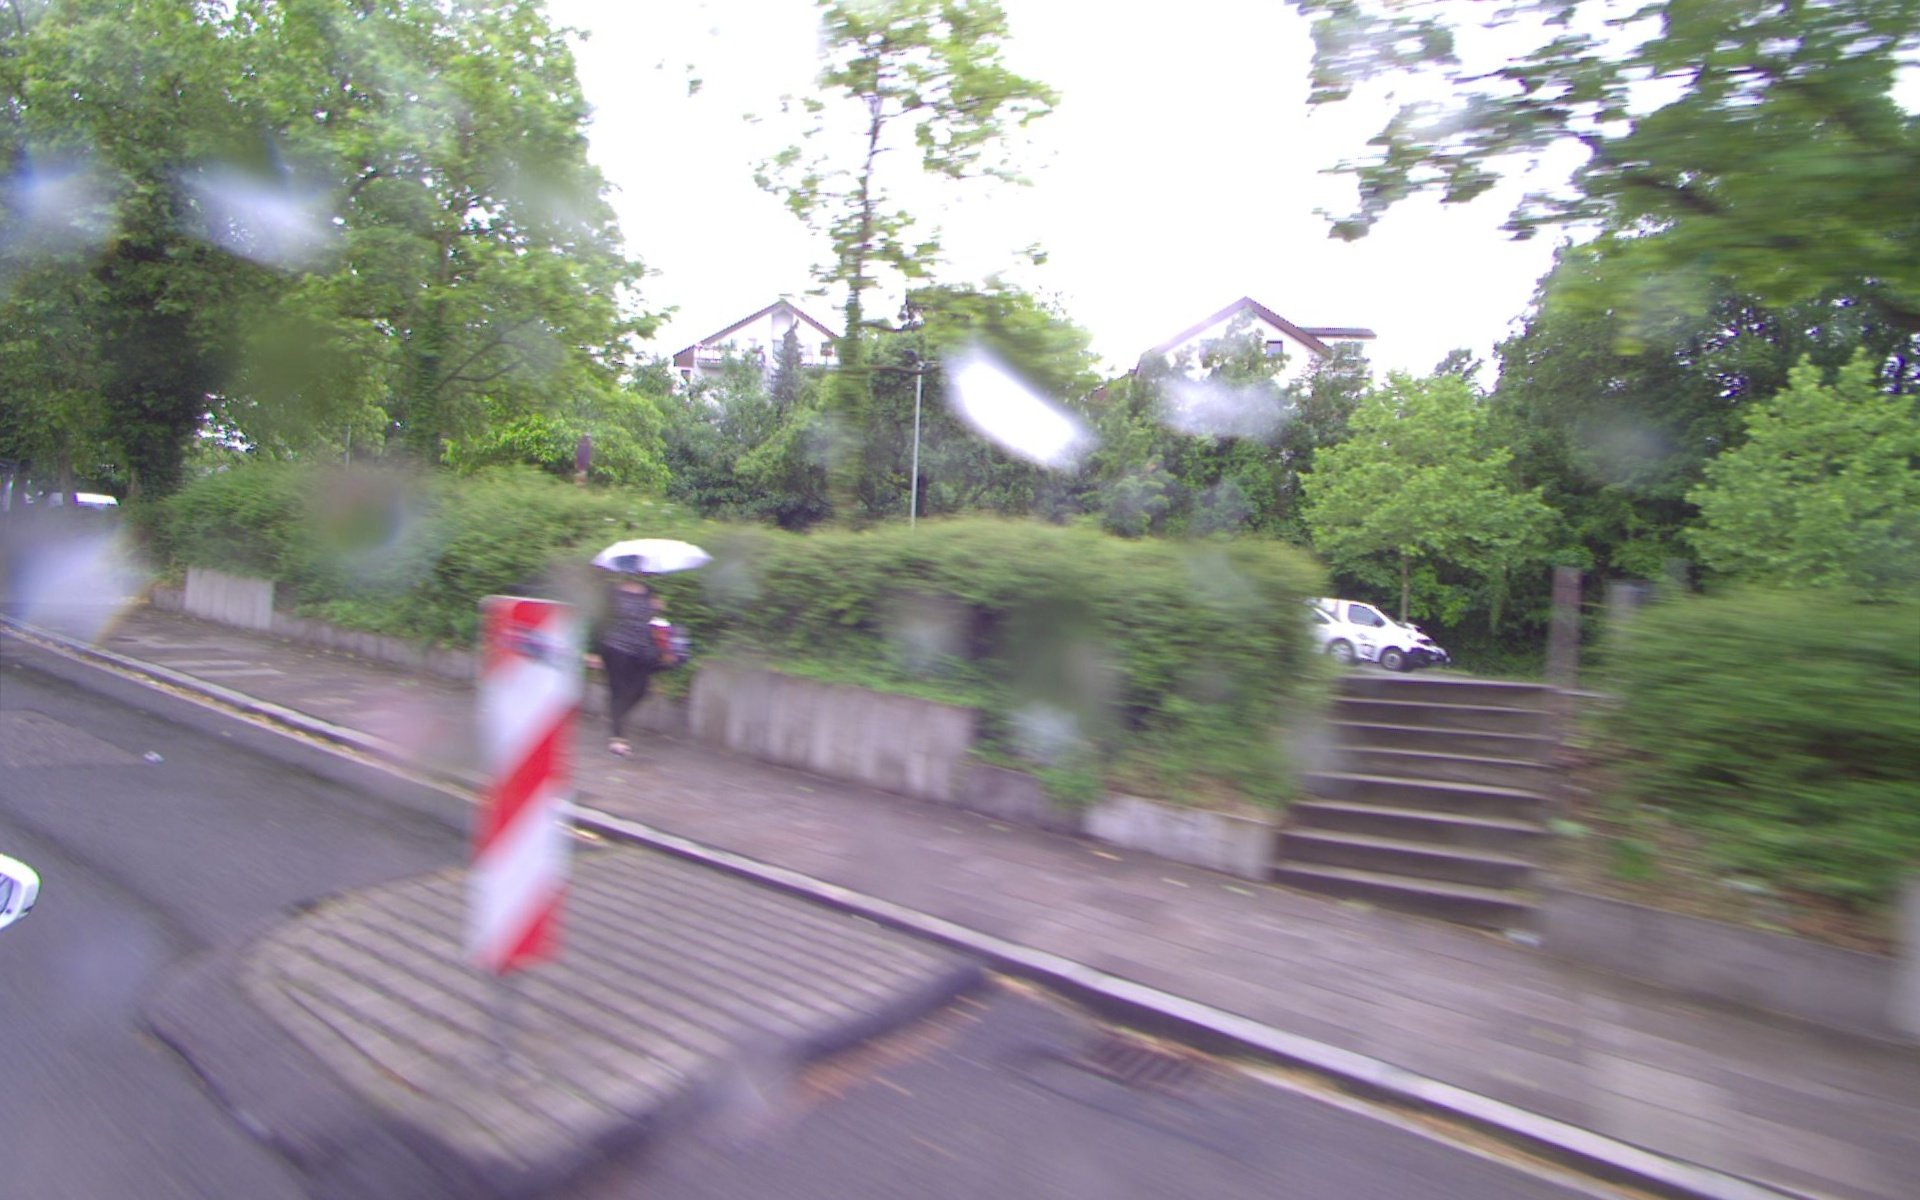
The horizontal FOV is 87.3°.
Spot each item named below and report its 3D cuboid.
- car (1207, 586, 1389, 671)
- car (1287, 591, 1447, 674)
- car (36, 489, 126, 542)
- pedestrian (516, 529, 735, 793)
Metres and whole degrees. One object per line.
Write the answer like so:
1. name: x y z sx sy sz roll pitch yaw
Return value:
1. car: 8.194 0.686 24.435 3.714 1.525 1.998 7 -2 32
2. car: 11.939 0.948 29.541 3.934 1.837 1.998 7 -2 32
3. car: -47.599 -4.592 54.468 4.933 2.311 2.048 6 -1 31
4. pedestrian: -2.681 0.469 8.132 1.113 1.916 1.053 4 -1 27
